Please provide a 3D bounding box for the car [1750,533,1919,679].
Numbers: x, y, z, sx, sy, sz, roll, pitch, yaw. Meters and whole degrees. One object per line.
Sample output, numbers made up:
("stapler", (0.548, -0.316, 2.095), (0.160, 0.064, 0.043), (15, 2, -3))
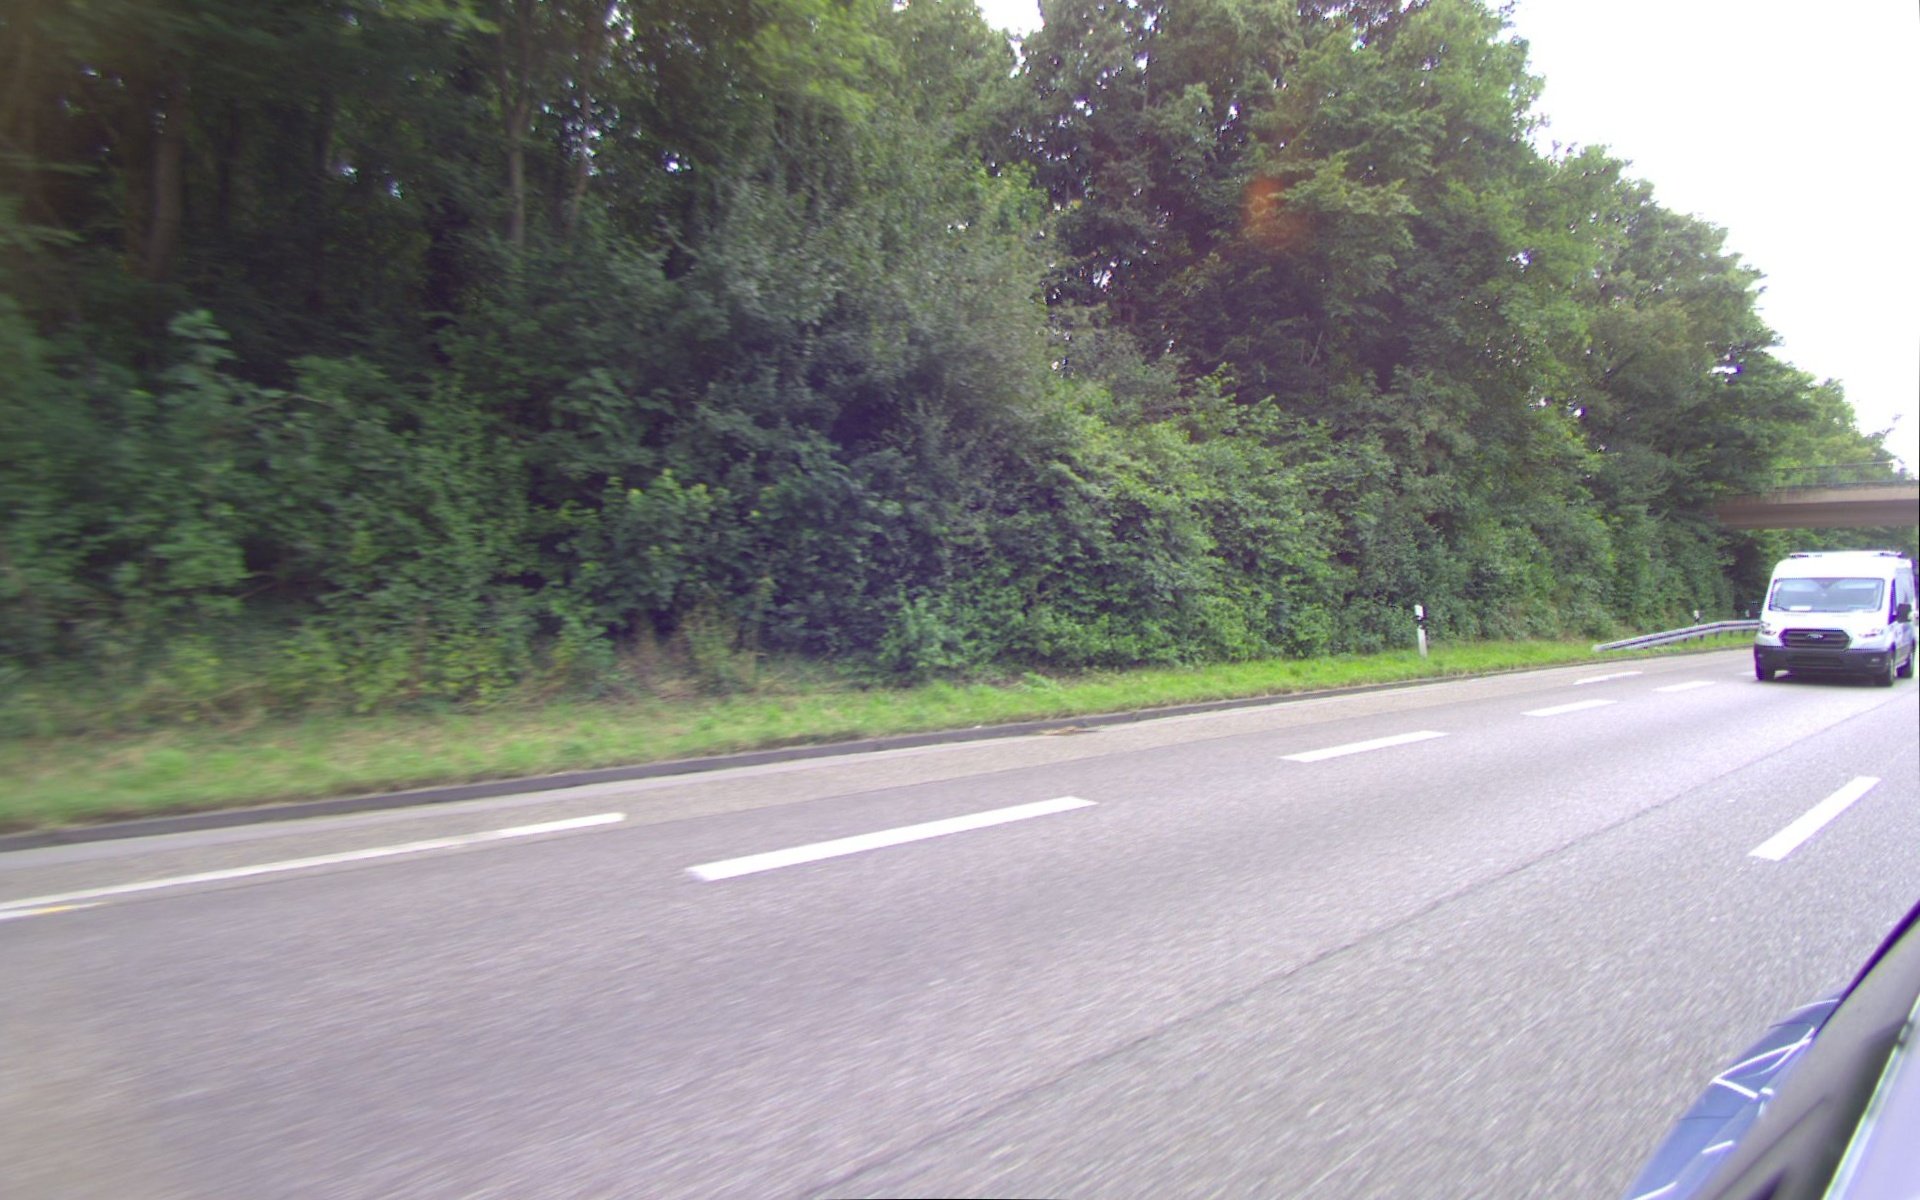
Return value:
("car", (17.598, 0.095, 20.067), (5.186, 2.539, 2.102), (0, 0, -41))
